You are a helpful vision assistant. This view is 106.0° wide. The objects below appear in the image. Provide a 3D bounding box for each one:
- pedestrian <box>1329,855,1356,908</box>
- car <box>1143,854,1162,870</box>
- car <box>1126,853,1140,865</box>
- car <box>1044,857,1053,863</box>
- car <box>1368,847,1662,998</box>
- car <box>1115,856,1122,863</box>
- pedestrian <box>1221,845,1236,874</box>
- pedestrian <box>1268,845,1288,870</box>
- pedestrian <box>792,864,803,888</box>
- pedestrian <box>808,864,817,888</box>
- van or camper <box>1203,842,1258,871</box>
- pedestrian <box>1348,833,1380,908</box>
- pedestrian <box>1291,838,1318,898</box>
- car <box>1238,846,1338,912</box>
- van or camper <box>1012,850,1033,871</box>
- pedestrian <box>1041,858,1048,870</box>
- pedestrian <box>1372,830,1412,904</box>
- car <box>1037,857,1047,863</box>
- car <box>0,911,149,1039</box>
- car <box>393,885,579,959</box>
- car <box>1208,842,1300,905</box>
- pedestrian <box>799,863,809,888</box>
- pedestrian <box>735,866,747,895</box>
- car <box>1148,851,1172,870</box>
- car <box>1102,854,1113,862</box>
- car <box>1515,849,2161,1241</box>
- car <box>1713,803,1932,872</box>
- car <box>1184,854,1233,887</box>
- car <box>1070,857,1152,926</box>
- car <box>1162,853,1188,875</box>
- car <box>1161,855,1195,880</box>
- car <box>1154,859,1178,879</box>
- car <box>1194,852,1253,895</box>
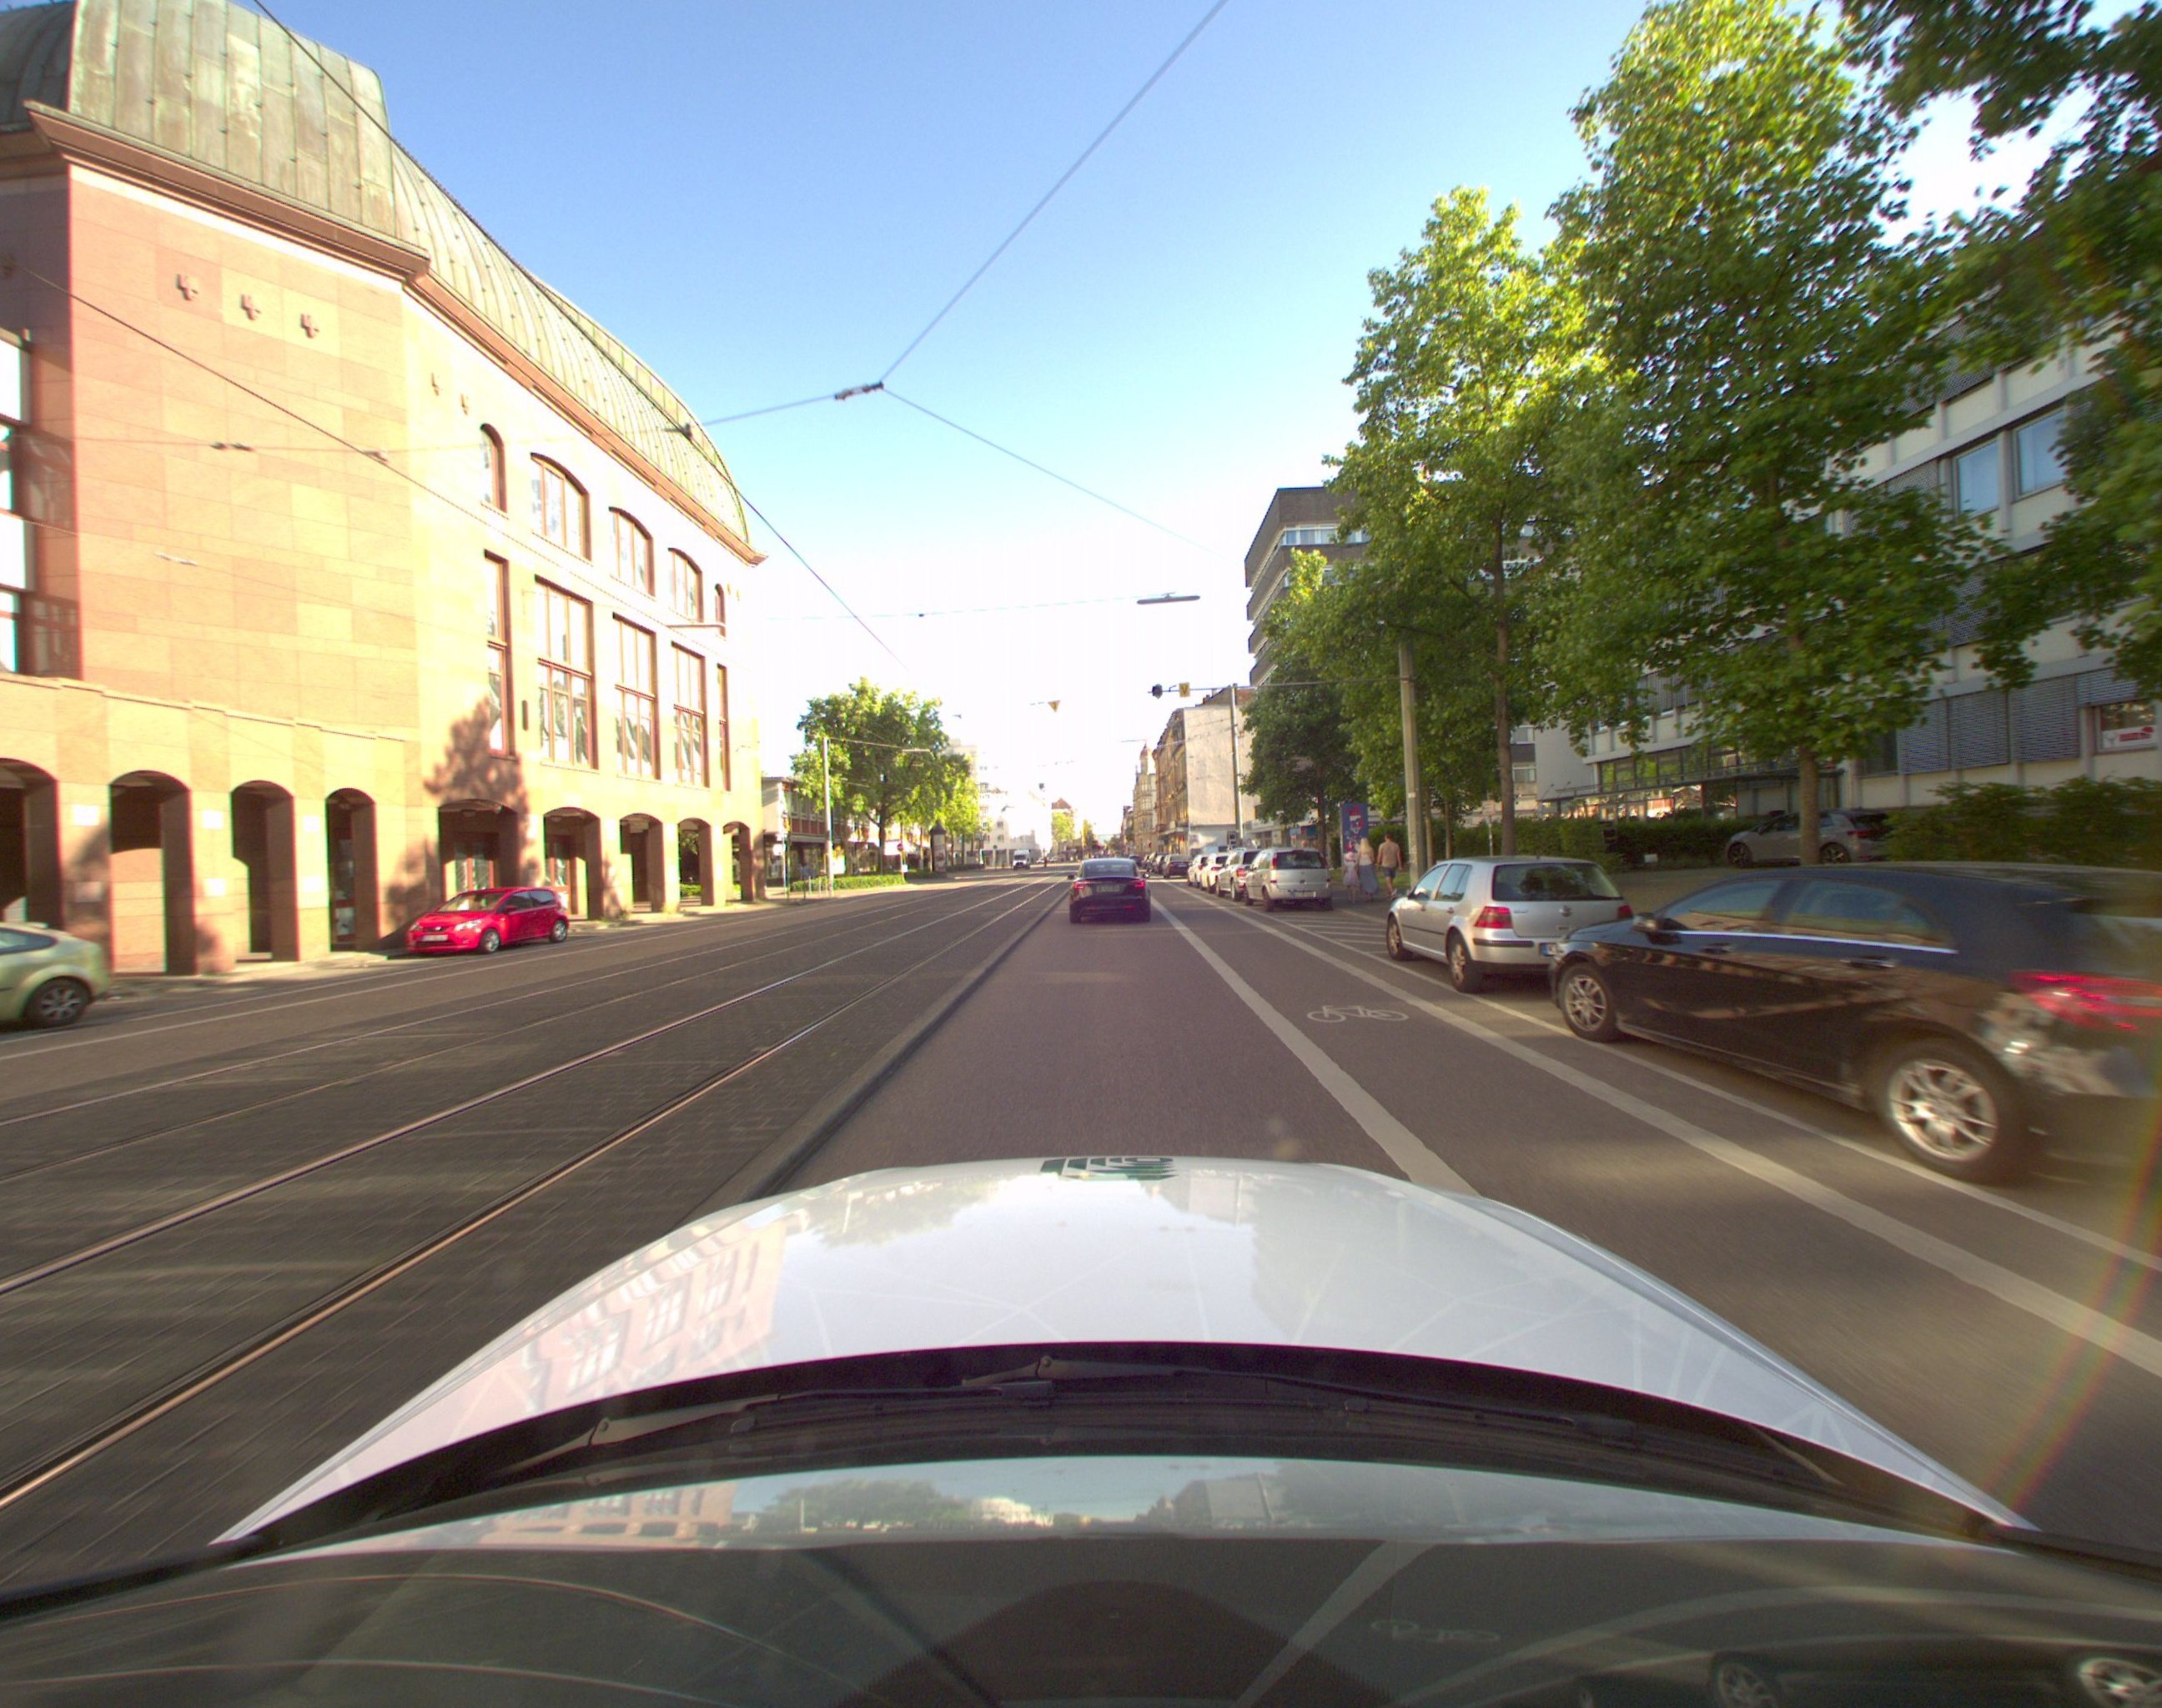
[{"bbox_3d":[7.111,0.743,22.188,0.453,1.398,0.423,-7,-1,6],"label":"pedestrian"},{"bbox_3d":[7.314,0.820,83.711,1.708,1.472,3.722,-3,0,3],"label":"car"},{"bbox_3d":[6.493,0.615,101.561,1.587,1.433,3.688,-3,0,3],"label":"car"},{"bbox_3d":[-8.341,1.619,209.162,1.986,1.495,4.002,-3,0,2],"label":"car"},{"bbox_3d":[4.980,0.659,10.104,1.741,1.443,4.323,-2,0,6],"label":"car"},{"bbox_3d":[10.157,1.486,221.867,1.839,1.592,4.003,-4,0,2],"label":"car"},{"bbox_3d":[9.341,0.345,51.702,0.719,1.812,0.889,-3,0,2],"label":"pedestrian"},{"bbox_3d":[14.284,0.240,58.996,1.142,1.728,1.050,-3,1,26],"label":"pedestrian"},{"bbox_3d":[-23.029,1.789,66.220,0.624,1.847,0.673,-1,0,-1],"label":"pedestrian"},{"bbox_3d":[-20.678,1.669,62.729,0.545,1.801,0.587,-1,0,-7],"label":"pedestrian"},{"bbox_3d":[13.395,0.222,73.157,4.621,2.136,1.990,-5,-1,5],"label":"van or camper"},{"bbox_3d":[7.667,0.445,22.100,0.462,1.954,0.749,-6,0,7],"label":"pedestrian"},{"bbox_3d":[6.904,0.429,25.211,0.608,1.808,0.603,-4,0,6],"label":"pedestrian"},{"bbox_3d":[5.474,0.593,22.037,1.708,1.590,4.065,-1,0,0],"label":"car"},{"bbox_3d":[-8.017,0.866,112.291,2.133,2.654,6.880,-3,0,0],"label":"van or camper"},{"bbox_3d":[-5.215,1.479,117.447,0.839,1.695,0.798,-1,0,9],"label":"pedestrian"},{"bbox_3d":[8.381,0.341,22.001,0.665,1.897,0.749,-6,0,7],"label":"pedestrian"},{"bbox_3d":[-8.828,1.395,184.532,1.986,1.368,4.002,-3,0,2],"label":"car"},{"bbox_3d":[-14.149,1.563,9.433,1.663,1.468,4.292,-1,0,1],"label":"car"},{"bbox_3d":[-13.927,1.526,19.334,1.653,1.422,3.621,-1,0,1],"label":"car"},{"bbox_3d":[5.594,0.574,26.935,1.919,1.834,4.710,-2,0,-1],"label":"car"},{"bbox_3d":[-21.204,1.639,62.421,0.590,1.872,0.537,-1,0,-8],"label":"pedestrian"},{"bbox_3d":[-24.657,1.931,59.100,0.607,2.066,0.660,-1,0,-43],"label":"pedestrian"},{"bbox_3d":[7.044,0.609,72.939,1.822,1.628,4.098,-2,-1,3],"label":"car"},{"bbox_3d":[5.766,0.877,175.776,1.989,1.525,3.996,-2,0,-2],"label":"car"},{"bbox_3d":[4.789,0.703,5.163,1.796,1.435,4.323,0,0,0],"label":"car"},{"bbox_3d":[19.196,-0.442,21.395,1.784,1.536,4.308,-3,1,-1],"label":"car"},{"bbox_3d":[5.851,0.724,37.691,1.597,1.443,3.883,0,0,-1],"label":"car"},{"bbox_3d":[0.669,0.809,19.345,1.714,1.405,3.710,-1,0,1],"label":"car"},{"bbox_3d":[6.572,0.680,57.249,1.572,1.447,3.311,-2,-1,3],"label":"car"},{"bbox_3d":[6.040,0.804,51.123,1.704,1.457,4.552,-2,0,1],"label":"car"},{"bbox_3d":[6.495,1.131,62.617,1.456,1.432,3.814,-2,-1,1],"label":"car"},{"bbox_3d":[5.583,0.721,32.290,1.536,1.570,4.443,-1,0,0],"label":"car"}]
